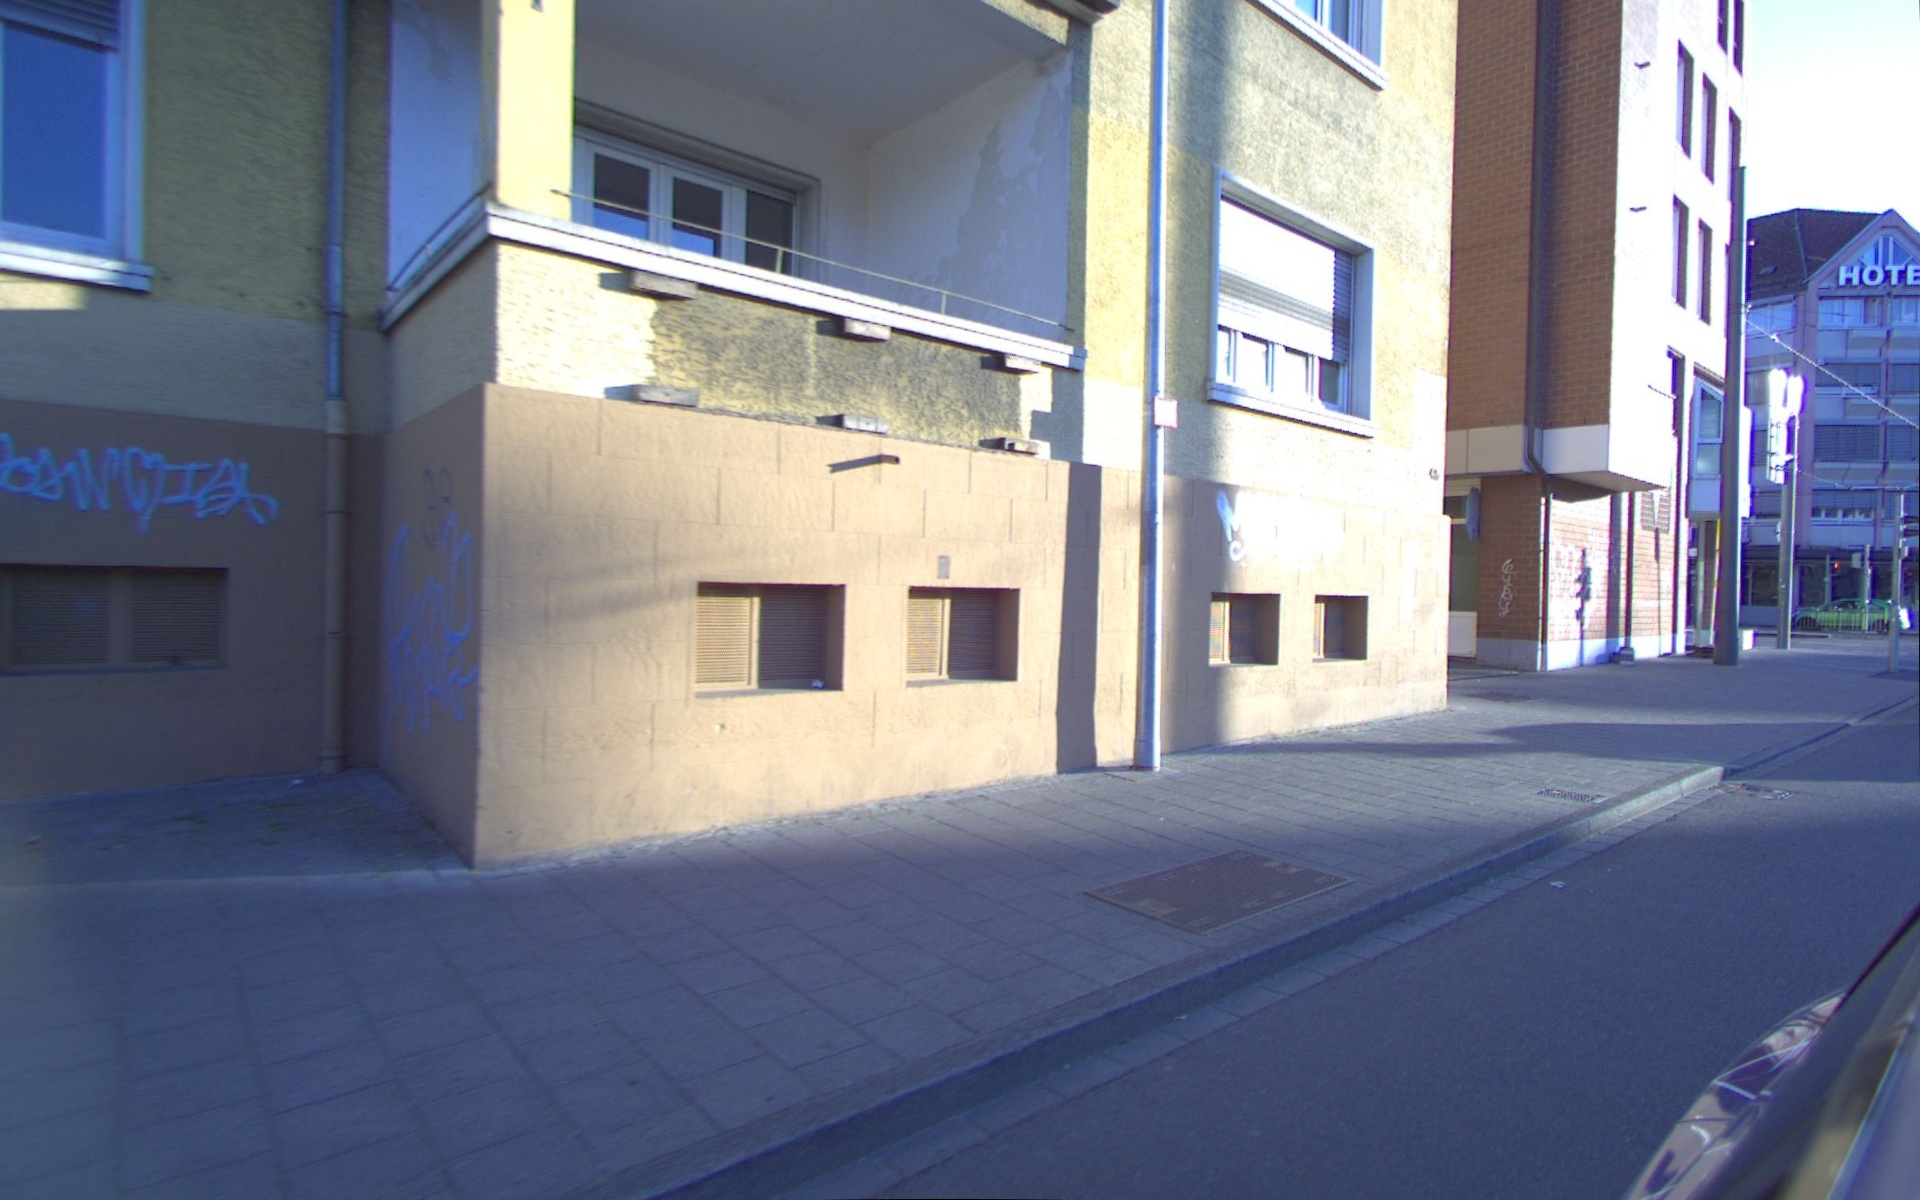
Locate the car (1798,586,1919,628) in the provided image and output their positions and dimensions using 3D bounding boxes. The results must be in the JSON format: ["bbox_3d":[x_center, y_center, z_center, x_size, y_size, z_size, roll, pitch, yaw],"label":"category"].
[{"bbox_3d":[38.356,0.272,42.997,1.718,1.585,4.019,0,2,-40],"label":"car"}]
